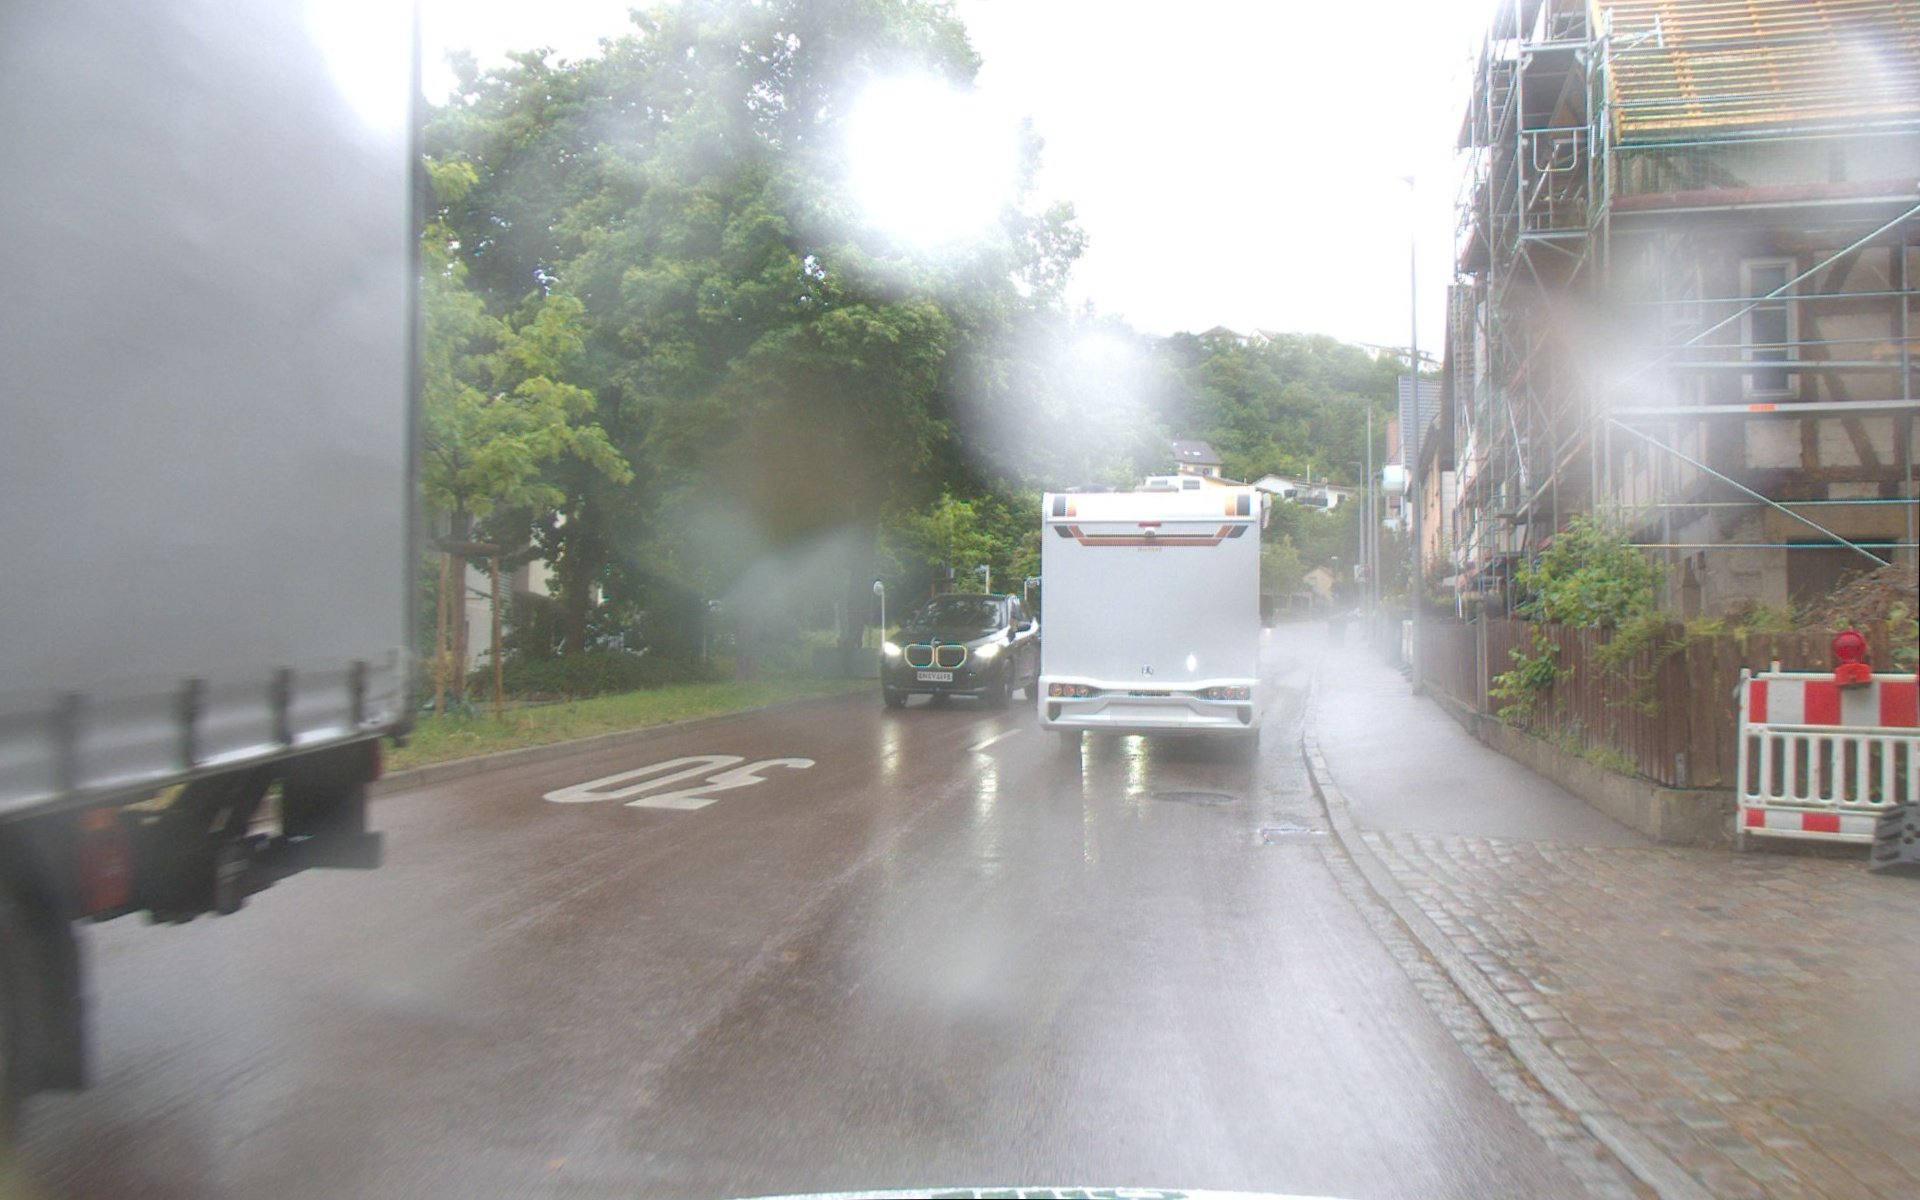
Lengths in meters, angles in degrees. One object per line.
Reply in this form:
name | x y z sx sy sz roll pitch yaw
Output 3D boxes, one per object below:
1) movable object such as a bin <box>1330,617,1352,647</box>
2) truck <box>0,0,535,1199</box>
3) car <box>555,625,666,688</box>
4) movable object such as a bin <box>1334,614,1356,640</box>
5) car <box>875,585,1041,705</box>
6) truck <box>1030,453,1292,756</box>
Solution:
movable object such as a bin | 14.006 1.184 60.810 0.705 1.070 0.800 1 0 16
truck | -3.390 -0.637 1.554 2.788 4.037 10.433 1 0 3
car | -8.221 1.299 39.203 1.953 1.352 3.446 1 0 -2
movable object such as a bin | 16.841 1.191 72.299 0.894 1.122 0.702 1 0 16
car | 0.069 0.646 25.225 1.847 1.644 4.143 1 0 10
truck | 2.529 0.044 18.966 2.462 2.867 6.206 1 0 11
